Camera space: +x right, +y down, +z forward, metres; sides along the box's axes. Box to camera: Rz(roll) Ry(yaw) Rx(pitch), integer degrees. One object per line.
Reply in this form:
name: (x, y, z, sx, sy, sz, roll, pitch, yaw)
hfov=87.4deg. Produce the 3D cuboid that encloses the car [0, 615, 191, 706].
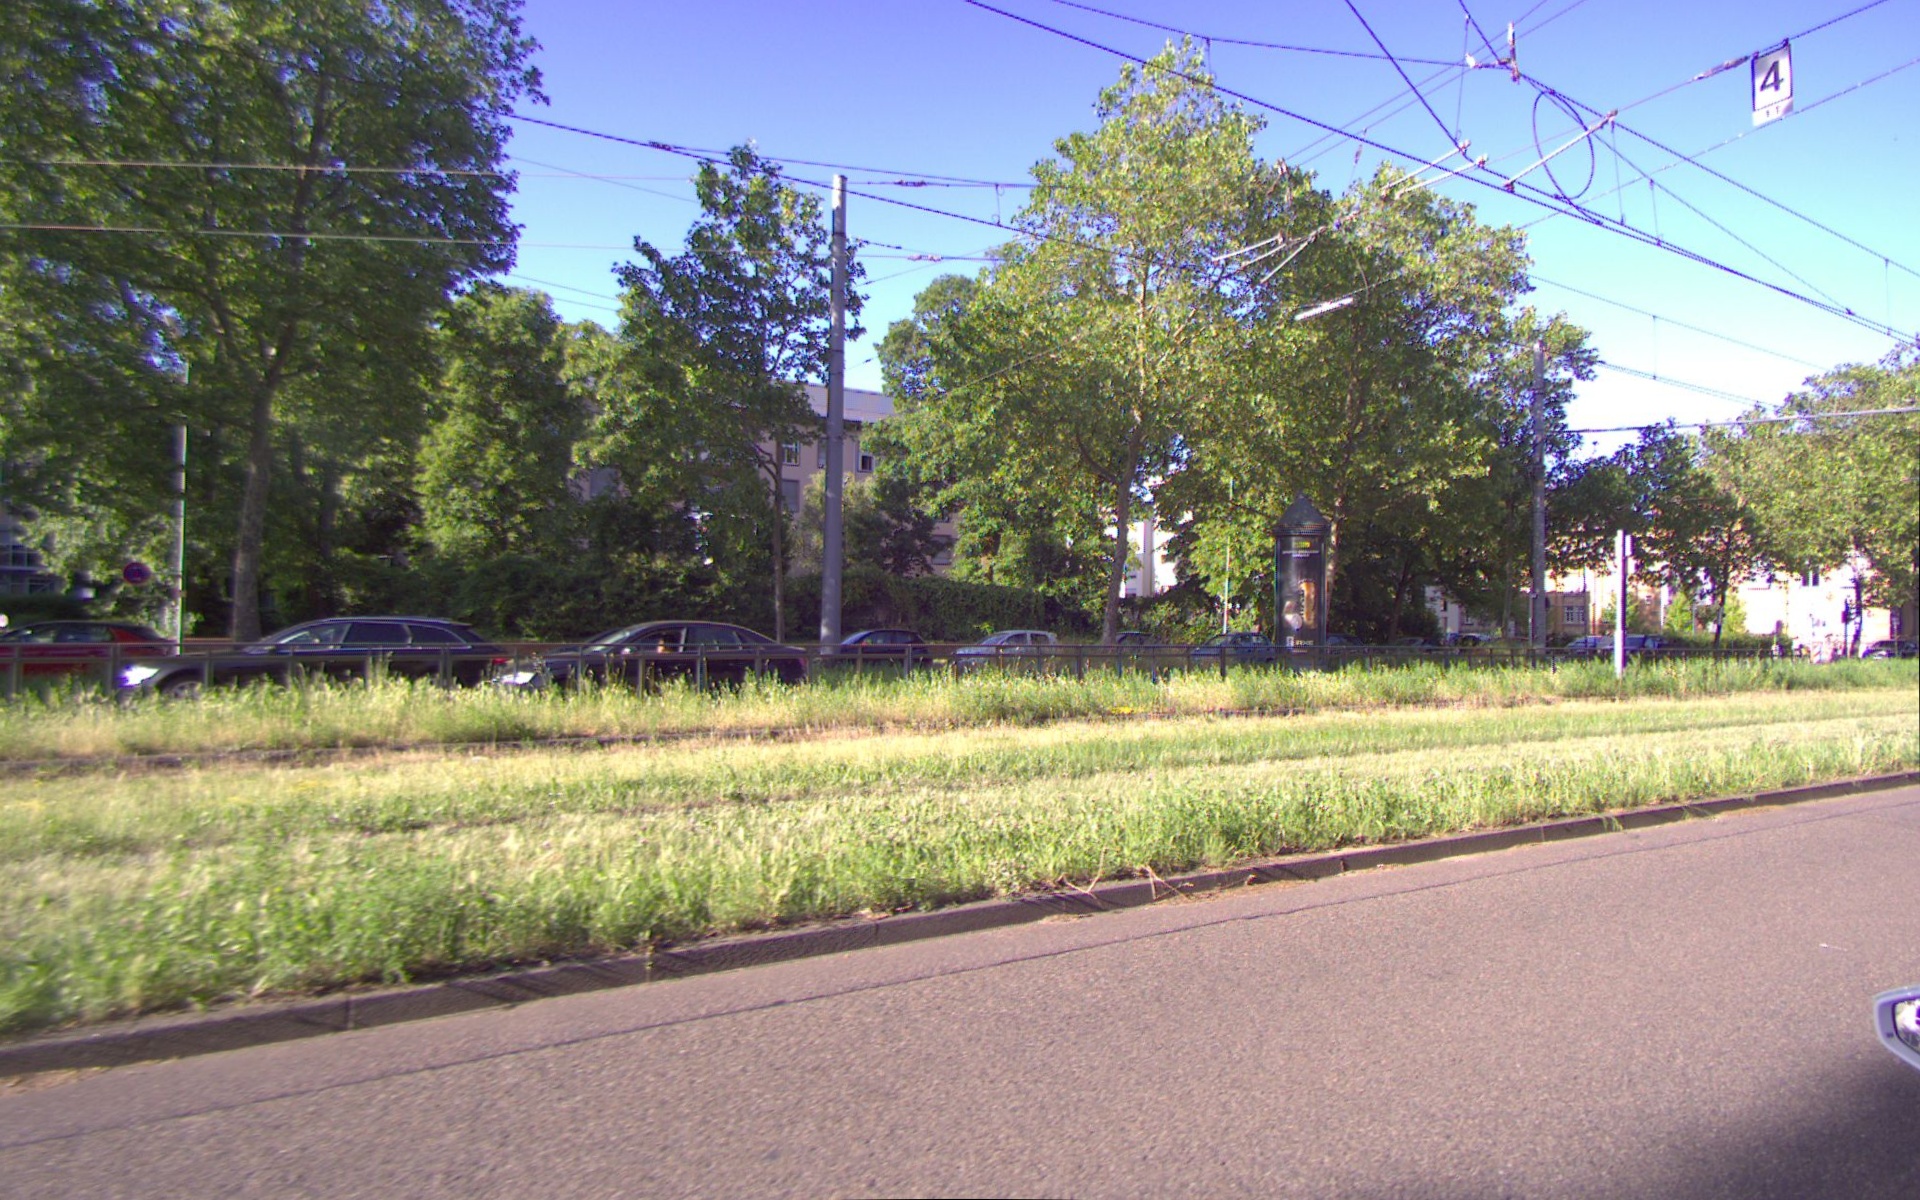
car: (-18.139, 1.168, 20.261, 3.954, 1.644, 1.983, 1, 1, -31)

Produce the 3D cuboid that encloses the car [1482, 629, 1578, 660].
car: (24.474, 1.900, 43.121, 3.952, 1.194, 1.784, 2, 1, -29)

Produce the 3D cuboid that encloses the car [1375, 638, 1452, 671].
car: (17.854, 2.126, 39.557, 2.812, 1.216, 1.394, 2, -1, -30)

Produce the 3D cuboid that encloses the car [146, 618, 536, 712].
car: (-8.838, 0.881, 14.816, 4.647, 1.150, 1.683, 1, 1, -28)

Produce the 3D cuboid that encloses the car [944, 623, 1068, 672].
car: (1.406, 1.415, 30.493, 3.461, 1.330, 1.561, 1, 1, -29)

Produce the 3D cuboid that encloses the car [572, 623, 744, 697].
car: (-7.778, 1.489, 25.918, 3.953, 1.706, 1.812, 1, 1, -30)

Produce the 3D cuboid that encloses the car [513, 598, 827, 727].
car: (-4.086, 0.806, 14.262, 3.997, 1.573, 1.786, 1, 1, -29)

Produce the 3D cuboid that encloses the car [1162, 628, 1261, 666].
car: (8.786, 1.644, 35.019, 3.320, 1.245, 1.400, 2, -1, -30)

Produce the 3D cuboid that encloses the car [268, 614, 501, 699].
car: (-13.092, 1.220, 23.069, 4.463, 1.706, 1.983, 1, 1, -32)
